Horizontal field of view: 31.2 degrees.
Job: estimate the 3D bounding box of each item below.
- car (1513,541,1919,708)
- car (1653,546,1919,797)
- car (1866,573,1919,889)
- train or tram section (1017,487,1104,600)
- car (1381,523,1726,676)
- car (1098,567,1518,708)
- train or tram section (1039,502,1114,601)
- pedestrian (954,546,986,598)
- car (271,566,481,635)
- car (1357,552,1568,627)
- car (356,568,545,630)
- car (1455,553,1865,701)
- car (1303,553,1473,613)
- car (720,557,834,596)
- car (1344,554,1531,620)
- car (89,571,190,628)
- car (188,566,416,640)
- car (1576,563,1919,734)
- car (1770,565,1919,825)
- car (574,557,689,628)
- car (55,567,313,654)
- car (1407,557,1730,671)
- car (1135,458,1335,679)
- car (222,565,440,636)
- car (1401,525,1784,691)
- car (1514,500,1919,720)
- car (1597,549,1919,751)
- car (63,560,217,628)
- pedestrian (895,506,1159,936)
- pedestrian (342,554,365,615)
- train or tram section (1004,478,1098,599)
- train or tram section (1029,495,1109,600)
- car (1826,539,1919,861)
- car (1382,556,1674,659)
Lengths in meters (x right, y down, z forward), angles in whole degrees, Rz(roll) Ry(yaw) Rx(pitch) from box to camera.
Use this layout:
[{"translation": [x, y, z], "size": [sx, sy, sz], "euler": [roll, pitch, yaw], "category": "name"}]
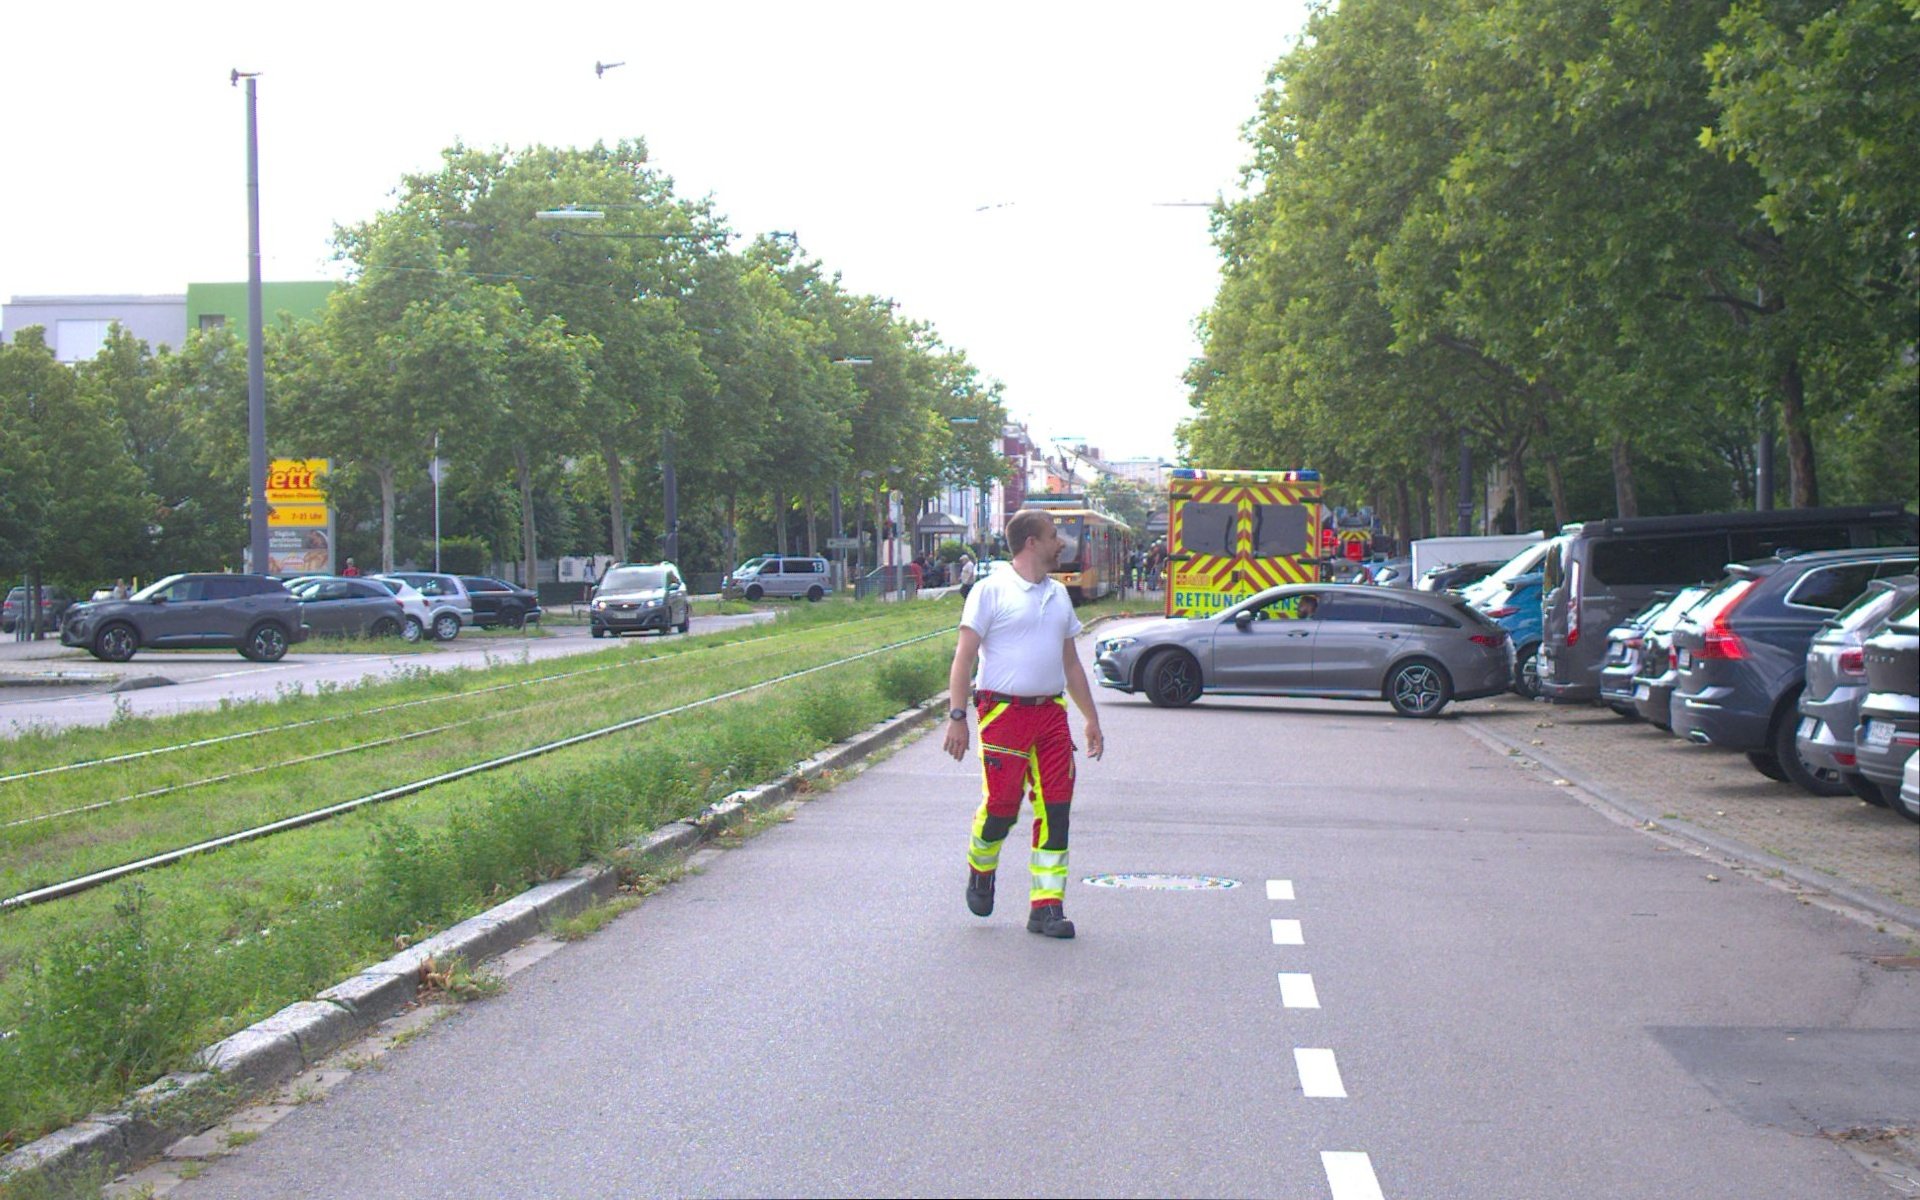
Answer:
[{"translation": [8.653, 0.263, 38.930], "size": [4.546, 1.760, 1.855], "euler": [-1, 0, 4], "category": "car"}, {"translation": [7.057, 0.441, 23.478], "size": [4.382, 1.634, 1.756], "euler": [-1, 0, 6], "category": "car"}, {"translation": [6.808, 0.573, 16.045], "size": [4.658, 1.468, 1.848], "euler": [-1, 1, 1], "category": "car"}, {"translation": [3.411, -1.834, 115.241], "size": [2.512, 3.572, 7.444], "euler": [-2, 0, 4], "category": "train or tram section"}, {"translation": [8.354, -0.014, 48.652], "size": [4.545, 2.036, 1.856], "euler": [-1, 0, 1], "category": "car"}, {"translation": [3.884, 0.390, 38.136], "size": [4.455, 1.381, 1.766], "euler": [2, 1, 11], "category": "car"}, {"translation": [4.453, -1.791, 130.077], "size": [2.512, 3.572, 7.444], "euler": [-2, 0, 4], "category": "train or tram section"}, {"translation": [0.300, -0.841, 103.517], "size": [0.881, 1.520, 0.751], "euler": [2, 0, 4], "category": "pedestrian"}, {"translation": [-13.053, 0.016, 76.951], "size": [4.221, 1.477, 1.883], "euler": [1, 0, -31], "category": "car"}, {"translation": [11.467, -0.251, 78.679], "size": [4.545, 1.603, 1.856], "euler": [-1, 0, 1], "category": "car"}, {"translation": [-12.601, -0.031, 85.145], "size": [4.222, 1.477, 1.883], "euler": [1, 0, -35], "category": "car"}, {"translation": [8.395, 0.311, 41.494], "size": [4.545, 1.655, 1.856], "euler": [-1, 0, 0], "category": "car"}, {"translation": [12.034, -0.477, 96.778], "size": [4.545, 1.603, 1.856], "euler": [-1, 0, 1], "category": "car"}, {"translation": [-7.948, -1.024, 149.503], "size": [4.613, 1.627, 1.883], "euler": [-1, 1, -34], "category": "car"}, {"translation": [12.265, -0.347, 88.496], "size": [4.545, 1.603, 1.856], "euler": [-1, 0, 1], "category": "car"}, {"translation": [-26.269, -0.032, 110.212], "size": [1.994, 1.744, 3.999], "euler": [2, 1, 4], "category": "car"}, {"translation": [-13.589, 0.062, 71.048], "size": [4.221, 1.477, 1.883], "euler": [1, 0, -31], "category": "car"}, {"translation": [7.833, 0.430, 31.947], "size": [3.966, 1.489, 1.756], "euler": [-1, 0, 4], "category": "car"}, {"translation": [7.258, 0.519, 20.793], "size": [4.382, 1.496, 1.756], "euler": [-1, 1, 6], "category": "car"}, {"translation": [-7.669, -0.198, 80.564], "size": [1.994, 1.552, 4.369], "euler": [-1, 1, 3], "category": "car"}, {"translation": [-13.749, 0.181, 60.889], "size": [4.220, 1.477, 1.884], "euler": [1, 0, -20], "category": "car"}, {"translation": [9.176, 0.197, 52.067], "size": [4.545, 1.603, 1.856], "euler": [-1, 0, 1], "category": "car"}, {"translation": [4.155, -0.459, 51.041], "size": [2.642, 2.956, 6.298], "euler": [3, 1, 6], "category": "car"}, {"translation": [-13.521, 0.012, 73.944], "size": [4.221, 1.477, 1.883], "euler": [1, 0, -31], "category": "car"}, {"translation": [8.058, 0.095, 44.067], "size": [4.545, 1.994, 1.856], "euler": [-1, 0, 1], "category": "car"}, {"translation": [8.029, 0.090, 34.983], "size": [4.546, 2.116, 1.855], "euler": [-1, 0, 4], "category": "car"}, {"translation": [7.582, 0.380, 29.063], "size": [3.965, 1.600, 1.756], "euler": [-1, 0, -6], "category": "car"}, {"translation": [-22.762, -0.181, 95.408], "size": [3.995, 1.744, 1.996], "euler": [2, 1, 36], "category": "car"}, {"translation": [0.263, 0.470, 13.975], "size": [0.803, 1.680, 0.851], "euler": [0, 0, -21], "category": "pedestrian"}, {"translation": [-16.538, -0.424, 93.767], "size": [0.466, 1.671, 0.603], "euler": [0, 0, 3], "category": "pedestrian"}, {"translation": [2.903, -1.856, 107.826], "size": [2.512, 3.572, 7.444], "euler": [-2, 0, 4], "category": "train or tram section"}, {"translation": [3.929, -1.812, 122.667], "size": [2.512, 3.572, 7.444], "euler": [-2, 0, 4], "category": "train or tram section"}, {"translation": [7.168, 0.448, 18.257], "size": [4.658, 1.620, 1.848], "euler": [-1, 1, 1], "category": "car"}, {"translation": [9.413, 0.120, 57.222], "size": [4.545, 1.603, 1.856], "euler": [-1, 0, 1], "category": "car"}]
